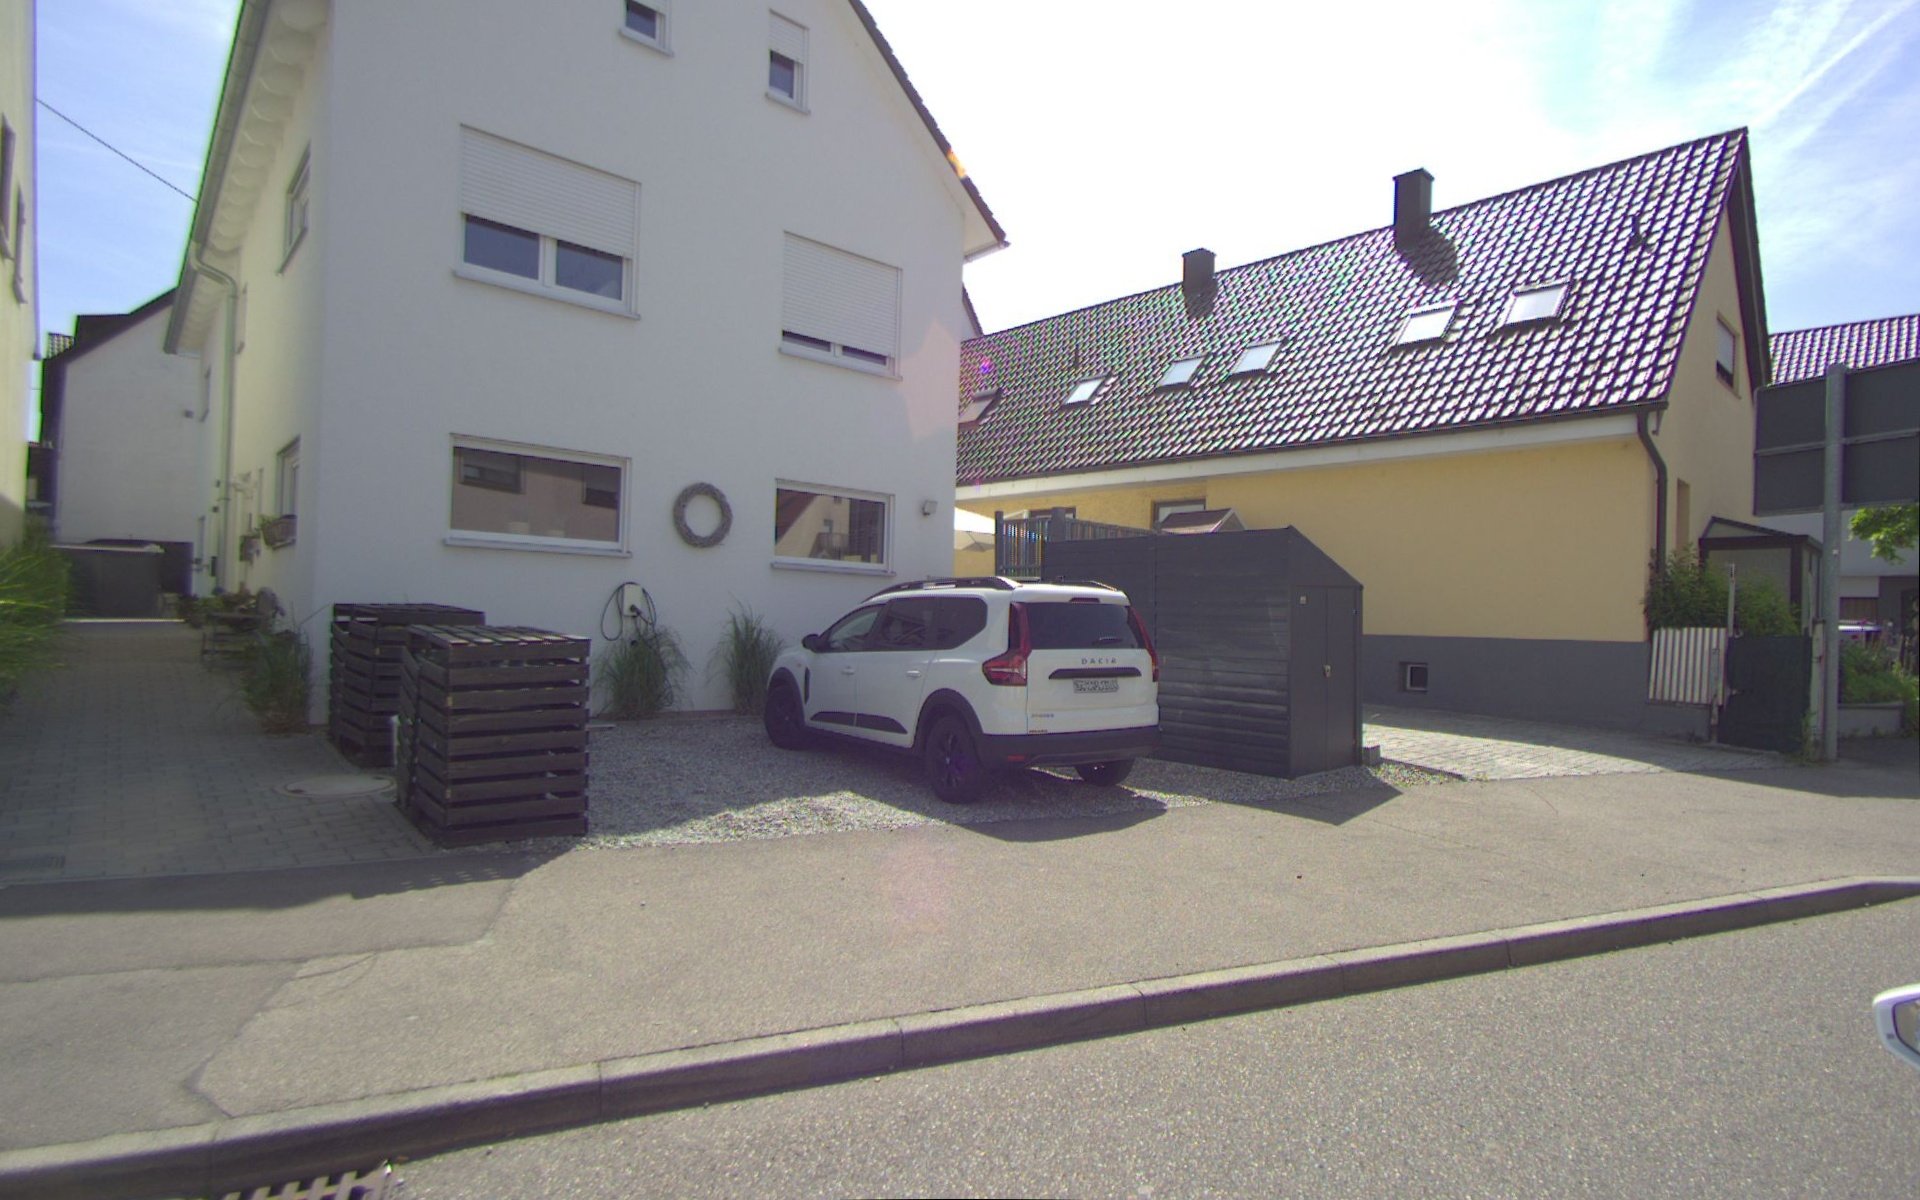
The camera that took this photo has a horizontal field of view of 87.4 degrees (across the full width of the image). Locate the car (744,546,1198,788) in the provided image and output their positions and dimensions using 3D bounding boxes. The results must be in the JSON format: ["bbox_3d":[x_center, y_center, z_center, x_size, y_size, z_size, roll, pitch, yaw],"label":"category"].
[{"bbox_3d":[-0.179,0.448,9.208,1.980,1.644,4.373,2,0,-34],"label":"car"}]

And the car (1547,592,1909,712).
[{"bbox_3d":[14.364,0.857,19.124,2.155,1.921,5.069,2,0,-36],"label":"car"}]
